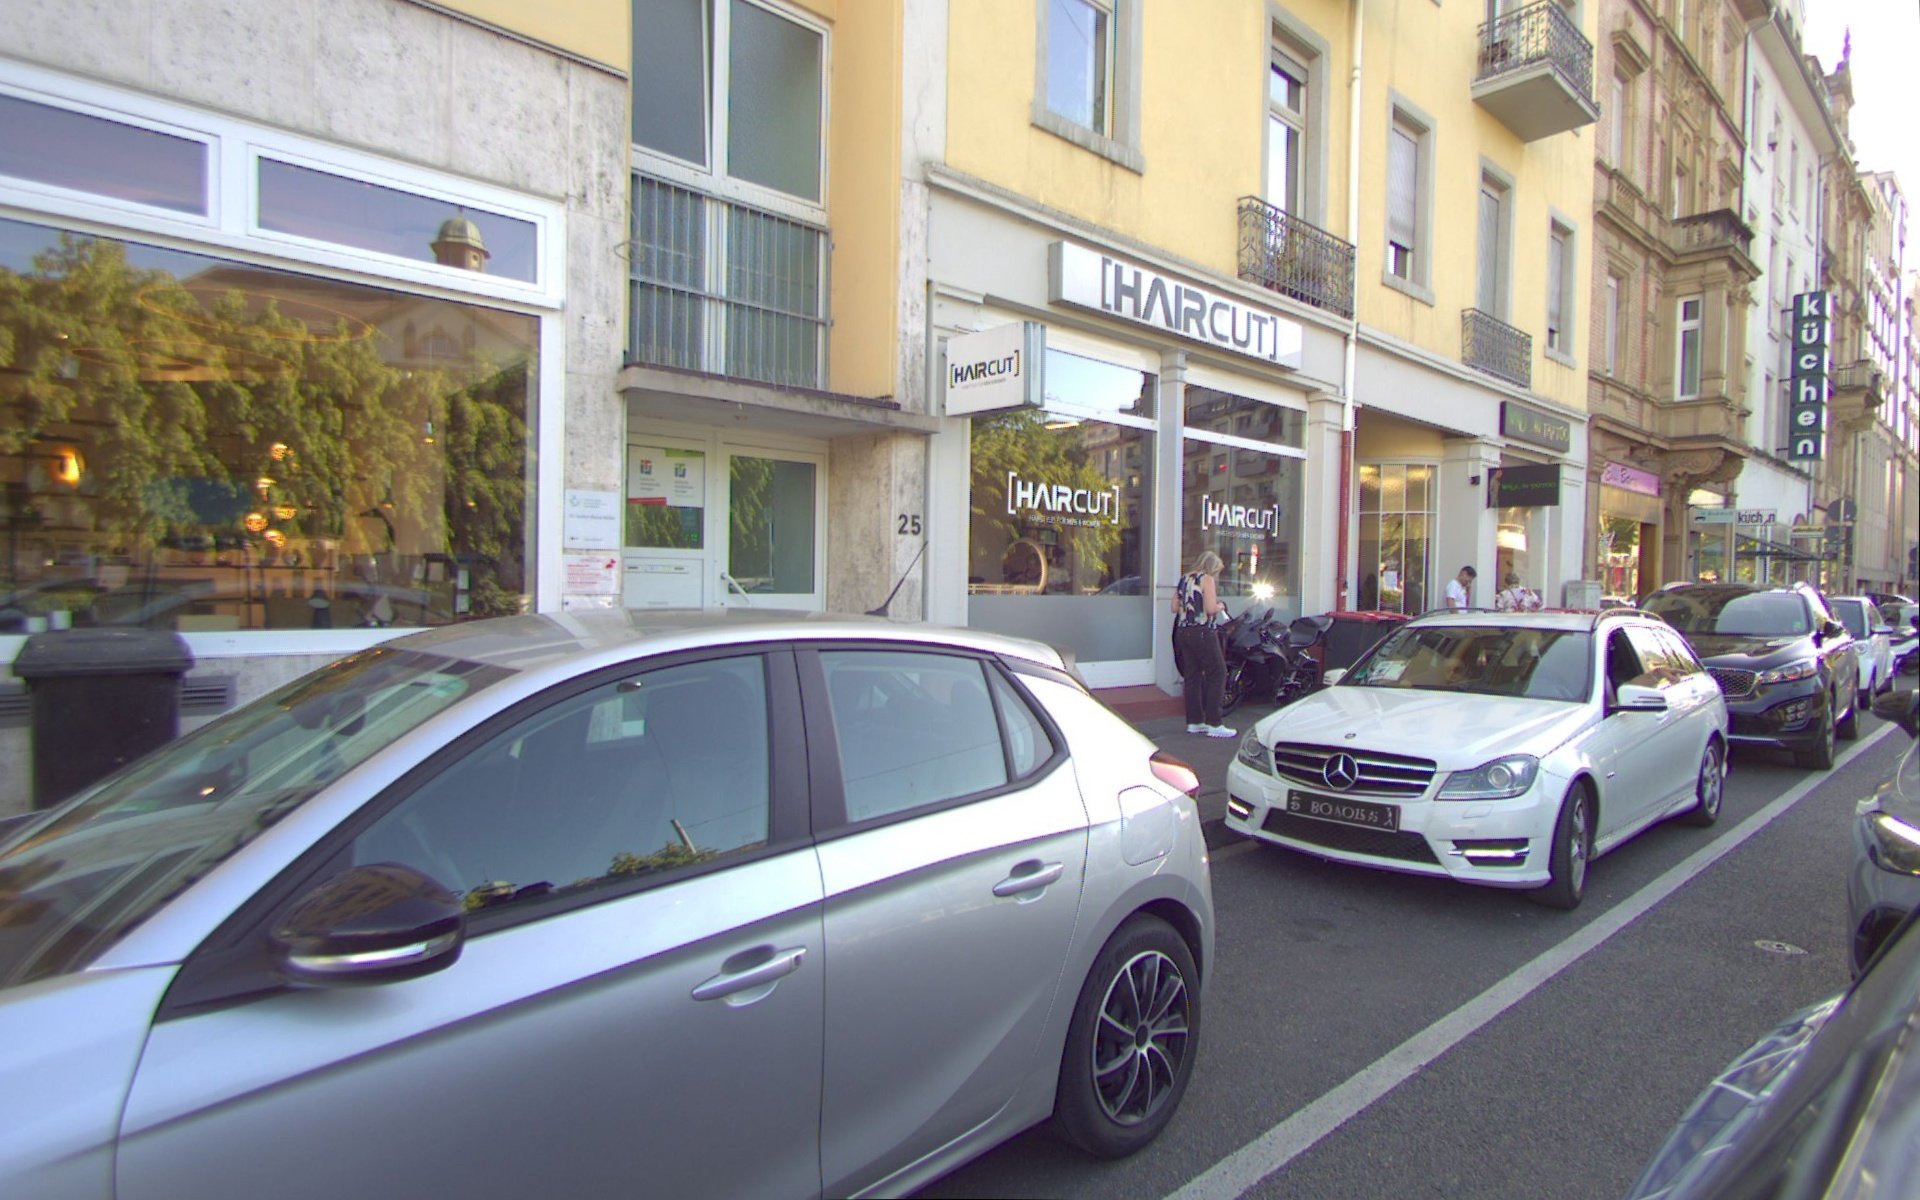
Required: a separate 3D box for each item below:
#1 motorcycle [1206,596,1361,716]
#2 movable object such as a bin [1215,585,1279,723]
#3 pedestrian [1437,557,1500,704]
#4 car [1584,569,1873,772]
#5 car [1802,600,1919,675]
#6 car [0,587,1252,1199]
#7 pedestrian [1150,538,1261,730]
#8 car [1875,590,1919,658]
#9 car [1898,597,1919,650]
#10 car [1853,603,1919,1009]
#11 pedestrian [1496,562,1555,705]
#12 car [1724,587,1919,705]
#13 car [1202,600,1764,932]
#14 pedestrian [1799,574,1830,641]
[{"bbox_3d":[3.383,0.535,10.487,1.920,1.091,0.567,-1,4,-41],"label":"motorcycle"},{"bbox_3d":[2.715,0.499,9.576,0.387,1.253,0.391,0,3,-41],"label":"movable object such as a bin"},{"bbox_3d":[7.062,0.411,14.051,0.679,2.008,0.375,1,1,-18],"label":"pedestrian"},{"bbox_3d":[7.992,0.549,10.369,4.176,1.659,1.799,-1,1,-45],"label":"car"},{"bbox_3d":[18.098,0.674,19.942,4.016,1.282,1.800,-1,1,-42],"label":"car"},{"bbox_3d":[-1.000,0.696,2.281,3.597,1.445,1.549,-1,1,-42],"label":"car"},{"bbox_3d":[2.249,0.282,9.298,0.595,1.674,0.719,0,3,-40],"label":"pedestrian"},{"bbox_3d":[22.244,0.511,23.077,4.016,1.450,1.657,-1,1,-42],"label":"car"},{"bbox_3d":[26.627,0.607,27.188,3.773,1.357,1.800,-1,1,-42],"label":"car"},{"bbox_3d":[5.259,0.704,4.231,3.930,1.376,1.801,-1,1,-41],"label":"car"},{"bbox_3d":[7.635,0.433,13.681,0.567,1.874,0.661,0,0,19],"label":"pedestrian"},{"bbox_3d":[13.136,0.579,15.334,4.016,1.546,1.800,-1,0,-42],"label":"car"},{"bbox_3d":[3.527,0.714,6.421,4.302,1.376,1.703,-1,1,-41],"label":"car"},{"bbox_3d":[24.393,0.200,28.885,0.653,1.874,0.574,0,0,-40],"label":"pedestrian"}]
